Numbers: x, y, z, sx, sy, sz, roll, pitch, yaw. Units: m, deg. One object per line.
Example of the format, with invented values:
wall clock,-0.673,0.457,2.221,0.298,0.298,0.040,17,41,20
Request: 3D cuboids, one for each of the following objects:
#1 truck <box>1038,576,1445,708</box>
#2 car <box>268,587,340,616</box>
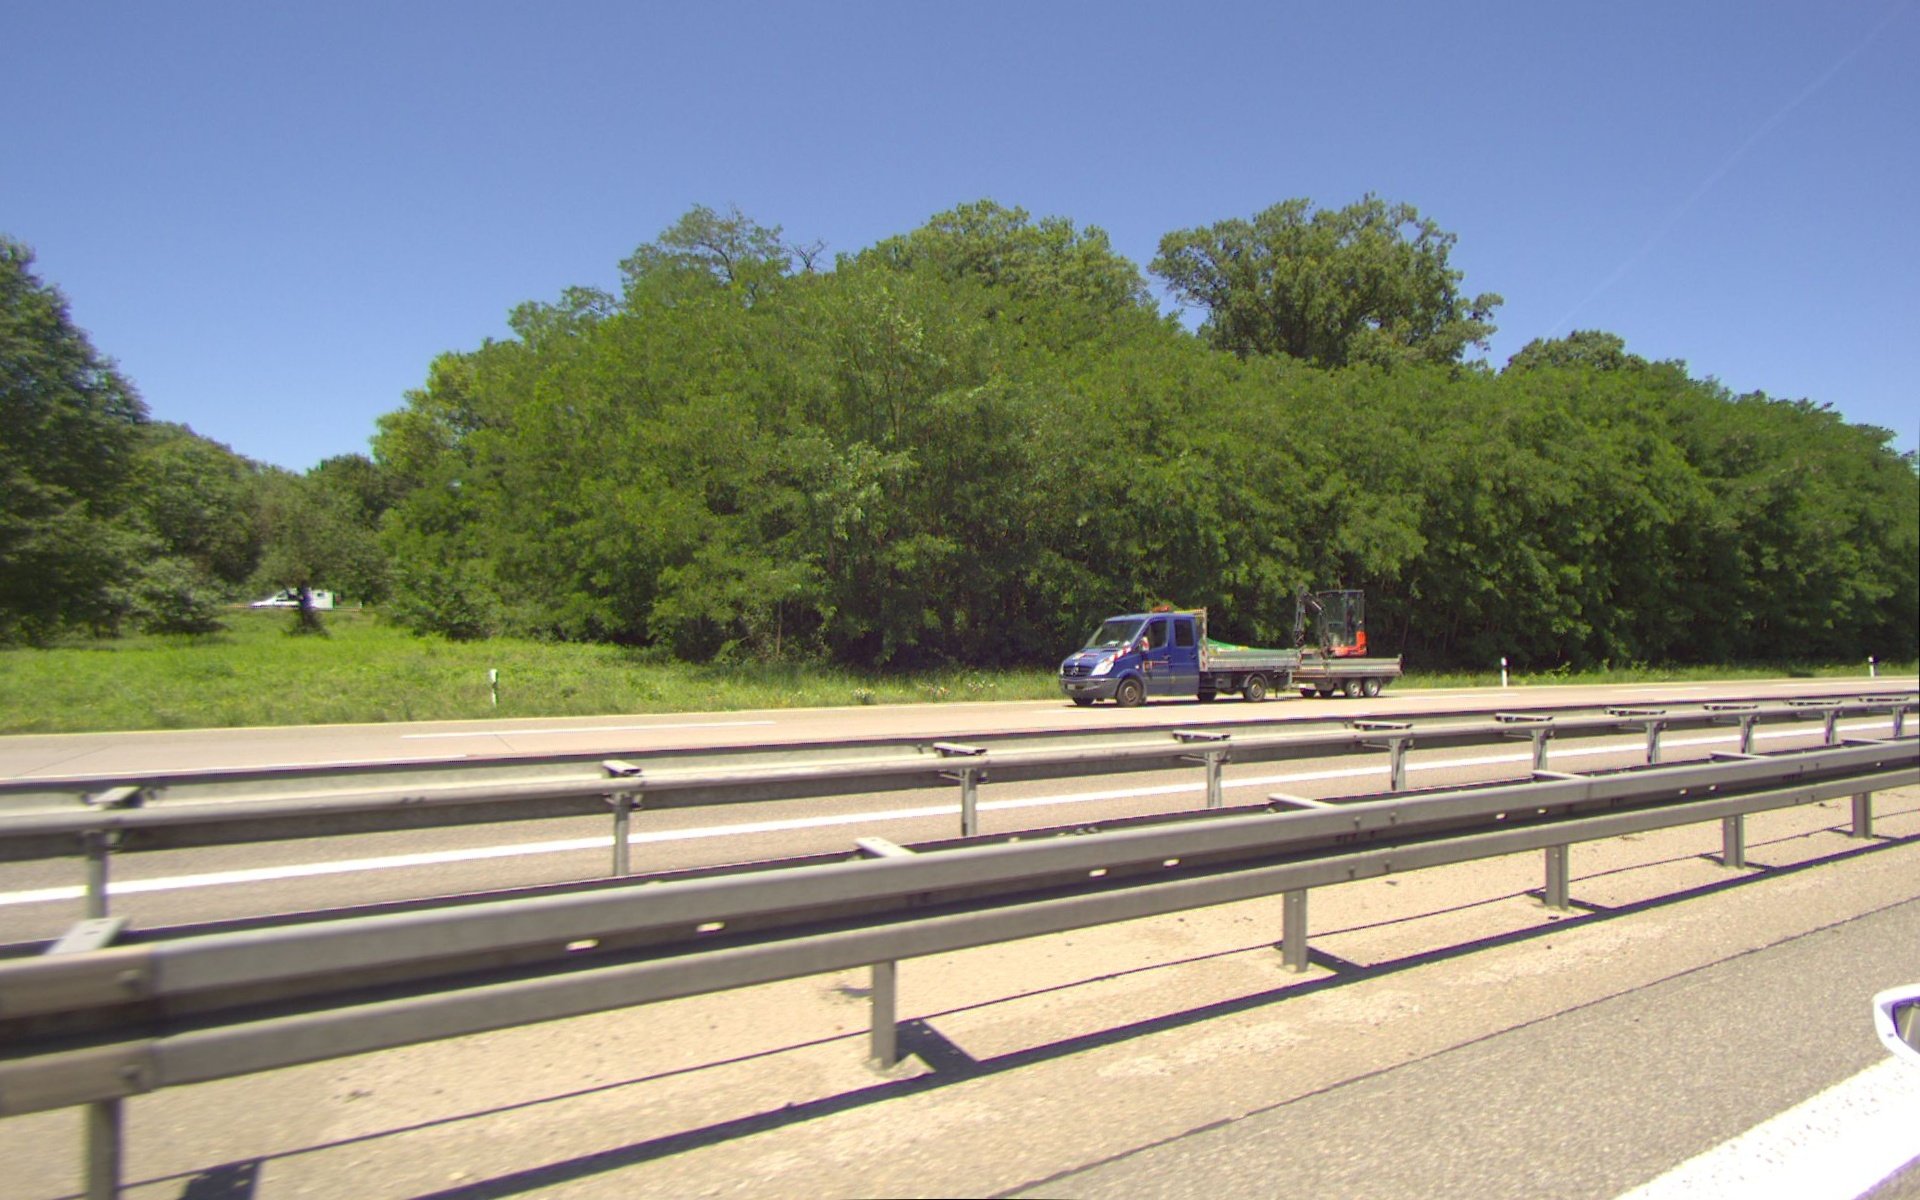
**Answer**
truck,8.117,1.176,27.481,12.705,3.030,2.740,2,-2,-31
car,-72.653,0.193,111.303,6.564,3.060,2.513,2,0,-37
